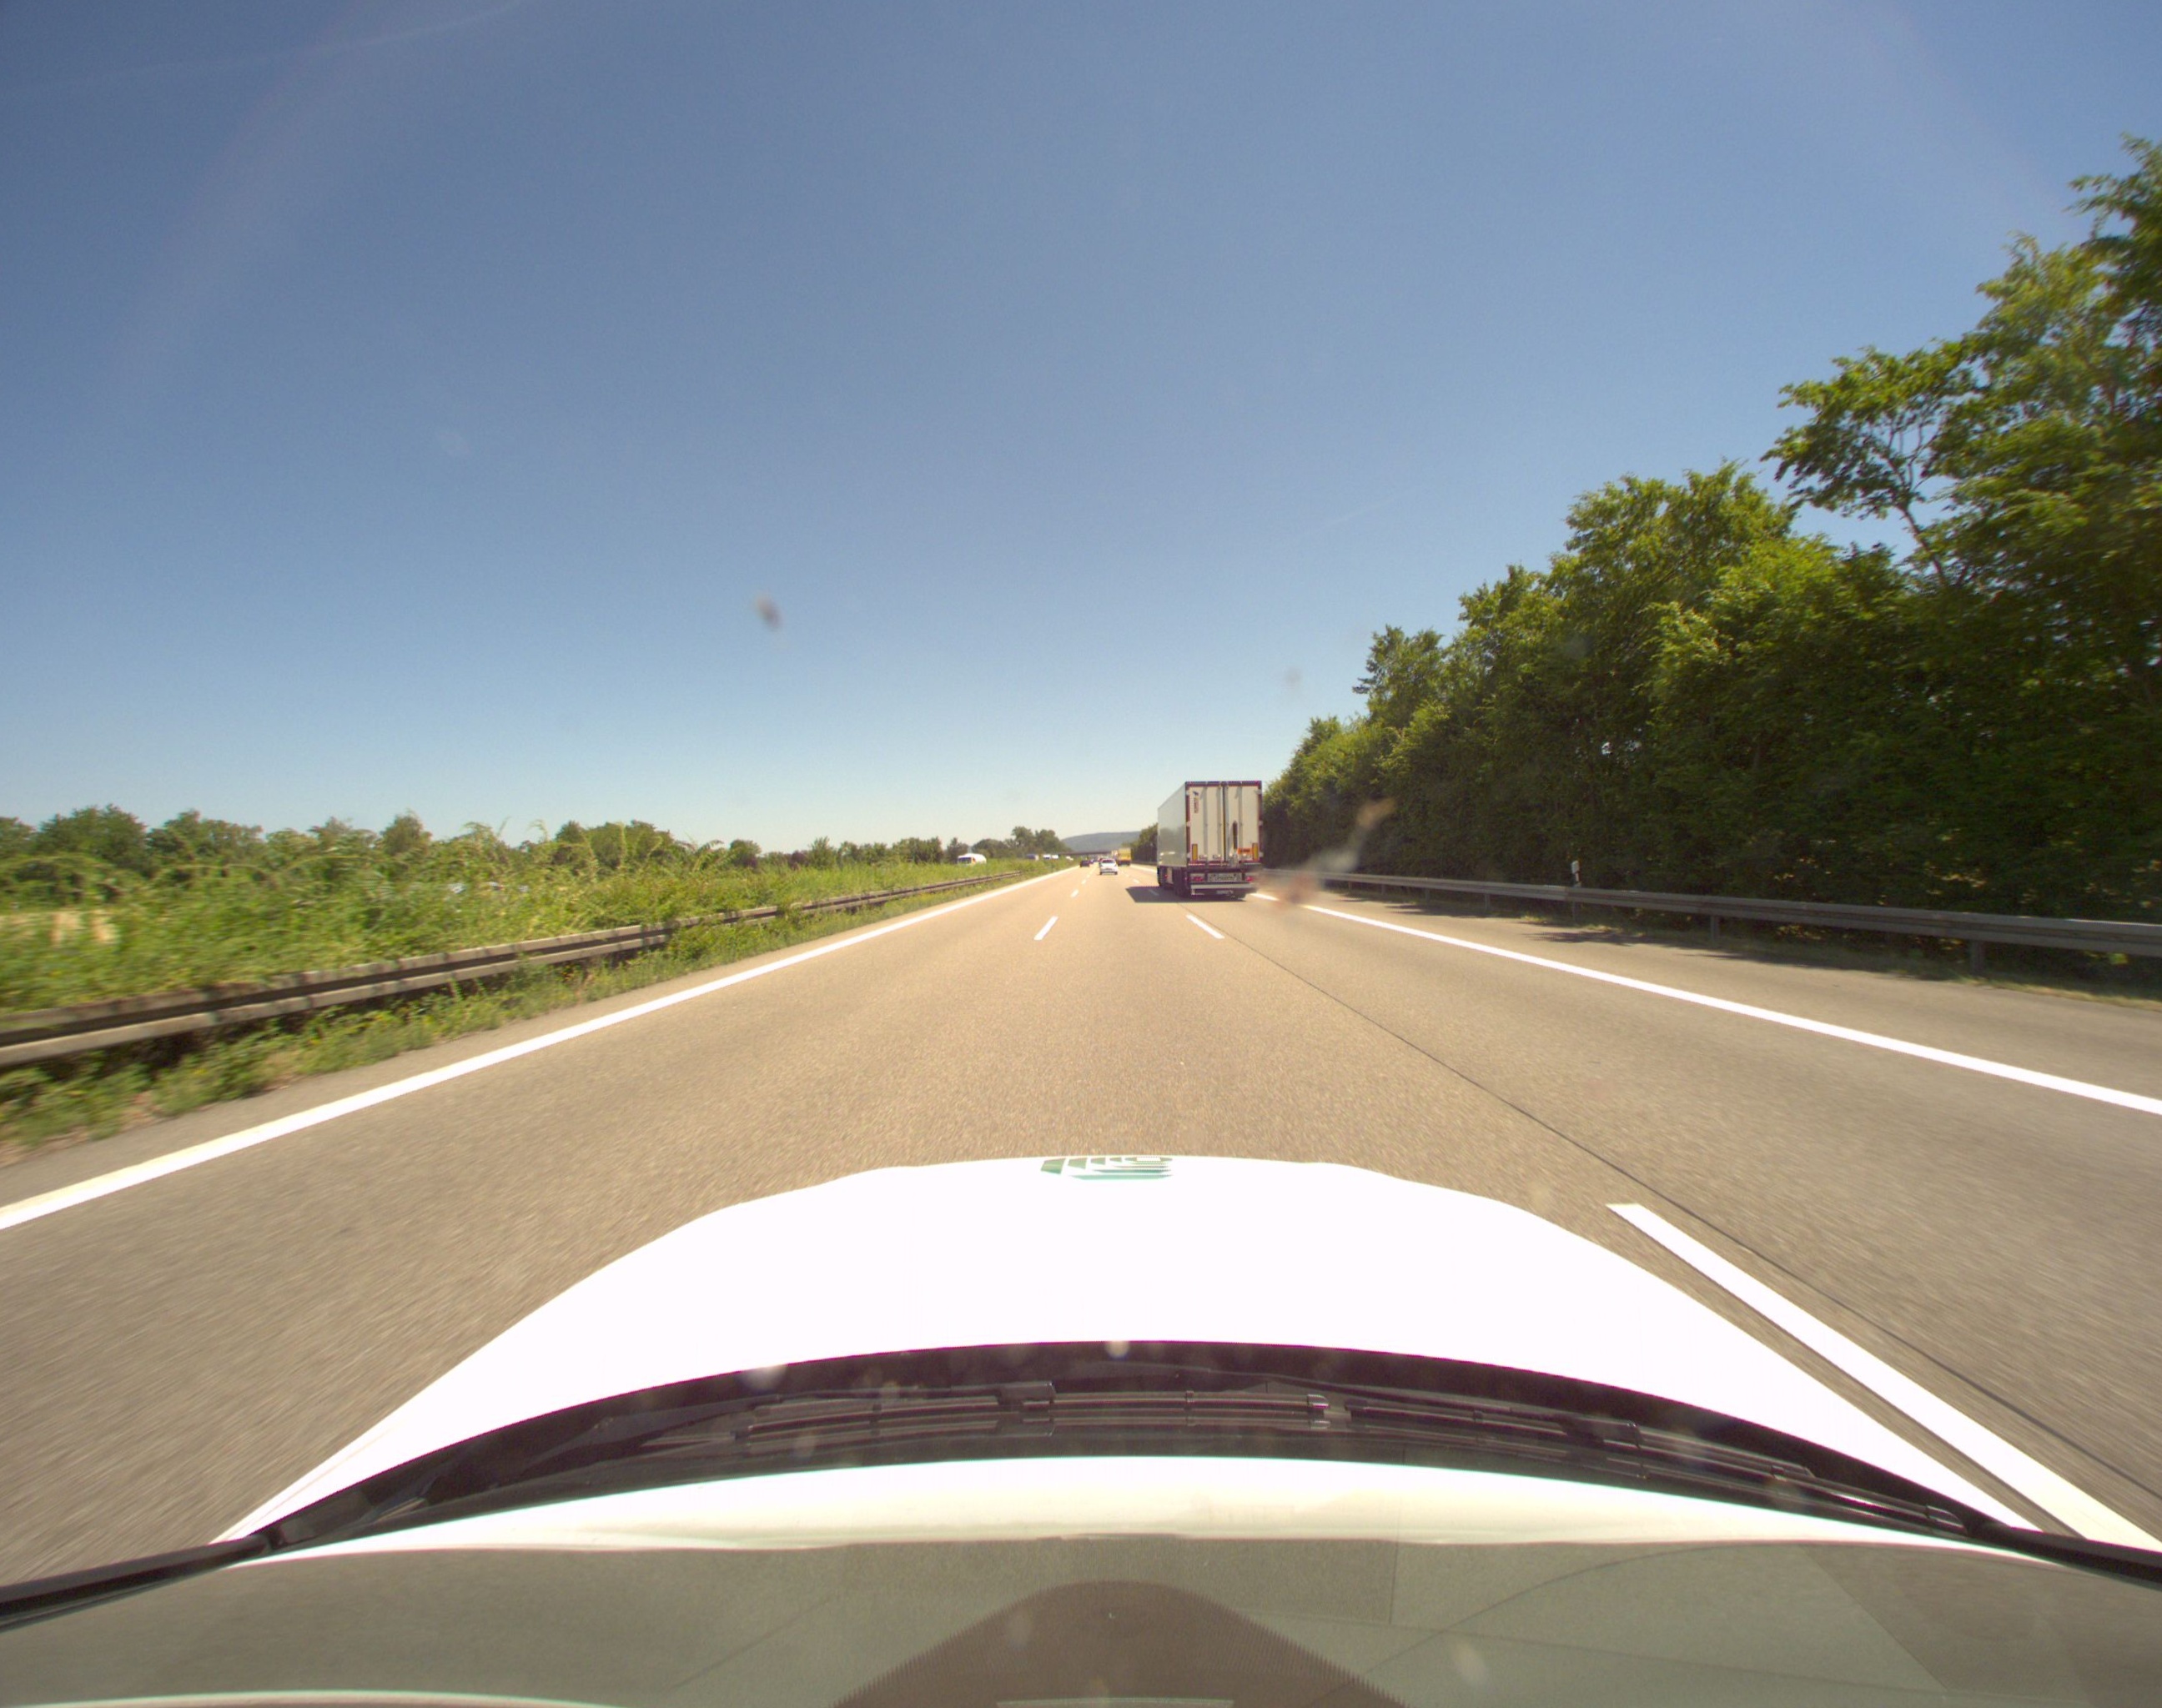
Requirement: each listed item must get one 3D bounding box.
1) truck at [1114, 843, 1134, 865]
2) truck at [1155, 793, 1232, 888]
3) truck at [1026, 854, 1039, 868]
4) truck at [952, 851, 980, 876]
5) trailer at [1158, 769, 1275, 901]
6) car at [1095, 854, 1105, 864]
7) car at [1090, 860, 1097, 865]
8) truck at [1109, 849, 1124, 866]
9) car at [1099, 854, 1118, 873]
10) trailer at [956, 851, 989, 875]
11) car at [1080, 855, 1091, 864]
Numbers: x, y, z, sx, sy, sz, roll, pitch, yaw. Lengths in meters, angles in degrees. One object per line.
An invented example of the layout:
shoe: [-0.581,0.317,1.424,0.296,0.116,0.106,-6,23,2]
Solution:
truck: [9.017,0.041,171.729,3.857,4.345,13.866,0,0,2]
truck: [5.443,-0.618,40.608,3.205,4.345,6.594,0,0,2]
truck: [-14.033,2.105,235.041,3.123,3.832,5.835,-2,0,1]
truck: [-17.087,1.388,121.735,3.216,3.516,5.435,-2,0,1]
trailer: [5.129,-0.621,33.841,3.205,4.345,13.638,0,0,3]
car: [3.361,0.947,142.849,1.780,1.712,4.001,0,0,1]
car: [3.651,2.411,233.504,1.788,1.551,4.002,-1,0,2]
truck: [10.007,1.097,231.392,4.255,4.652,13.865,-1,0,2]
car: [2.591,0.851,77.996,1.726,1.684,4.001,-2,0,1]
trailer: [-16.952,1.424,128.003,3.216,3.516,11.772,-2,0,1]
car: [0.857,0.957,151.080,1.986,1.712,4.001,0,0,1]
